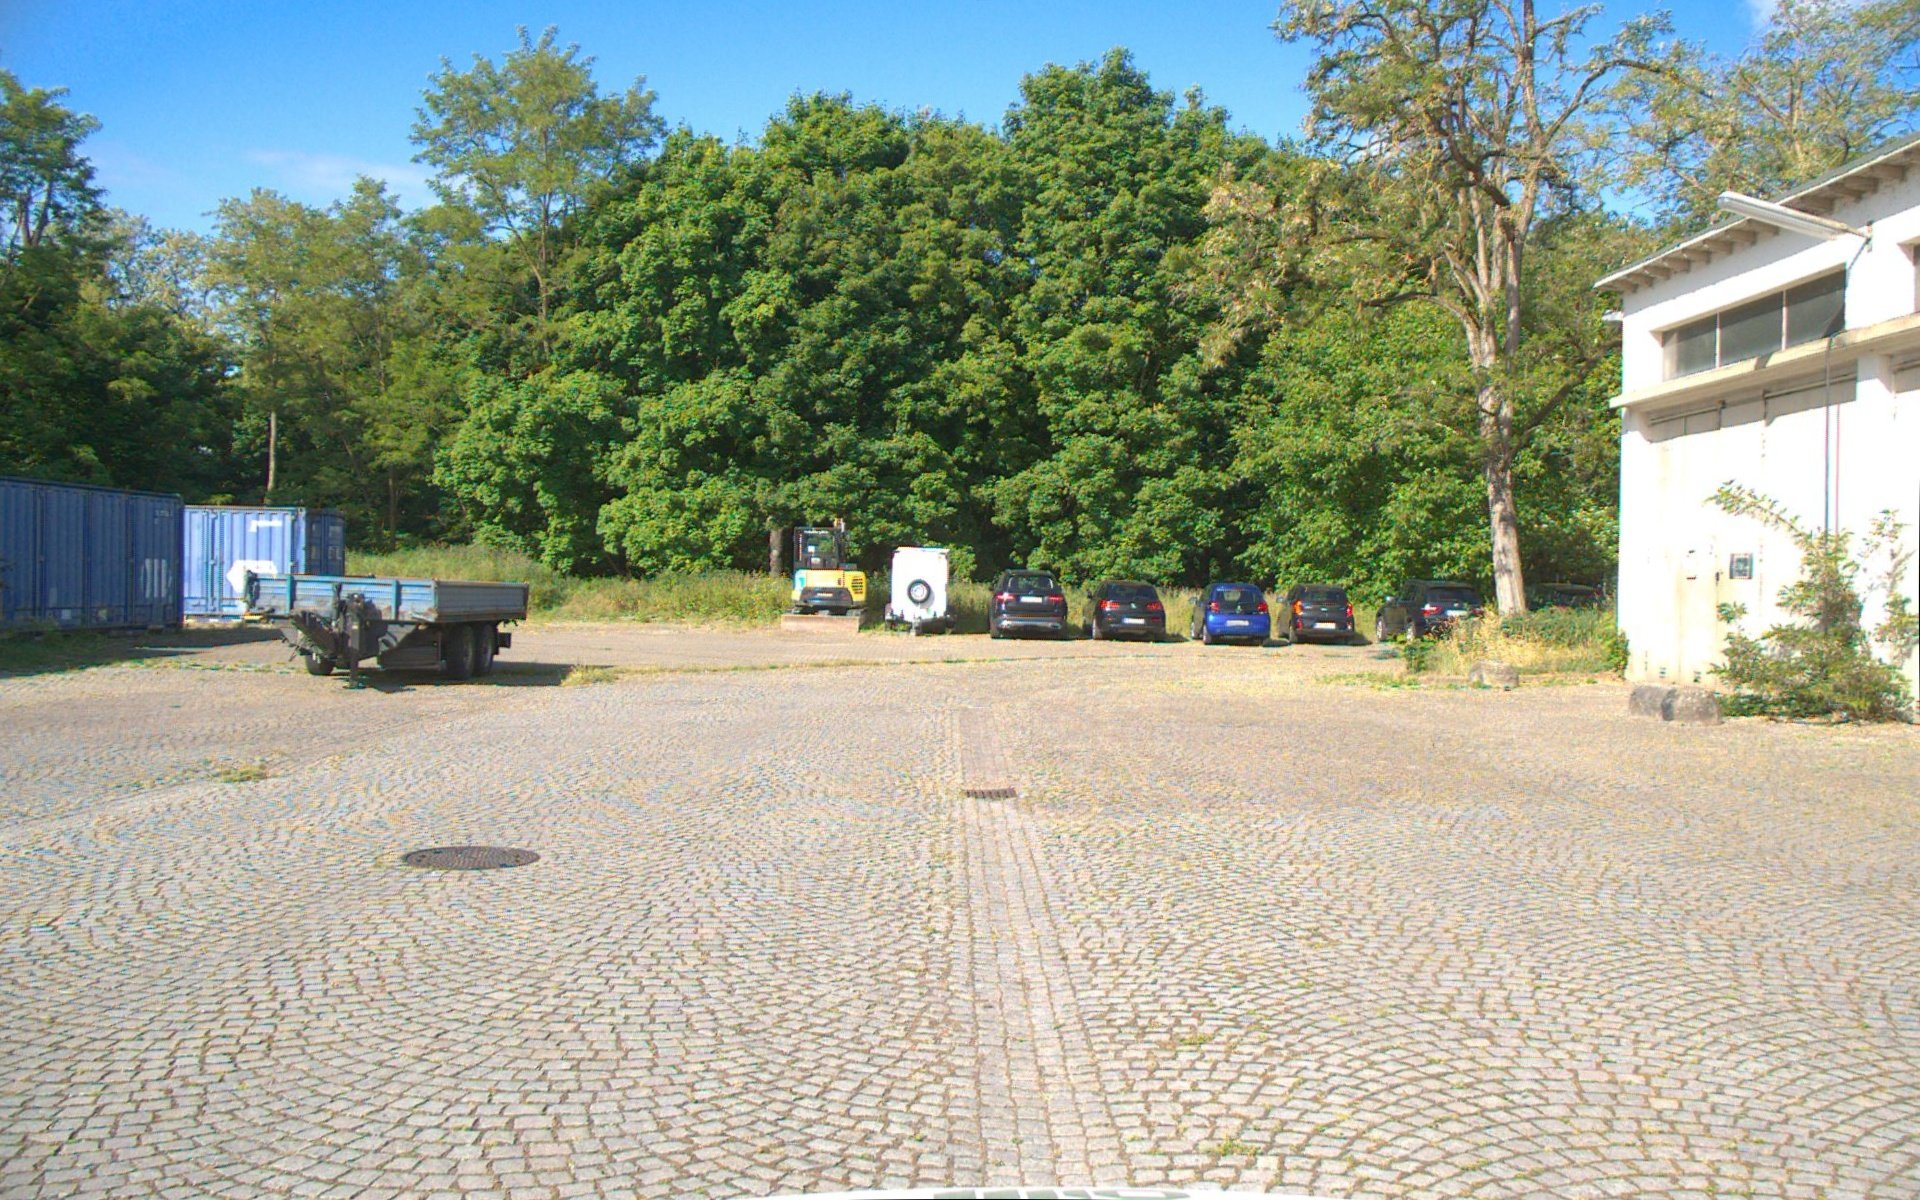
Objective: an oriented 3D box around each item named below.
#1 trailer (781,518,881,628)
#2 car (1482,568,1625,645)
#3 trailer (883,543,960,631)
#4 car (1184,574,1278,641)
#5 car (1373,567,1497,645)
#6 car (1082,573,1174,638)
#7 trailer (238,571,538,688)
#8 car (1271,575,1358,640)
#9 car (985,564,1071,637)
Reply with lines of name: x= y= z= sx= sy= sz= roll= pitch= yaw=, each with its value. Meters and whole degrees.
trailer: x=-3.252 y=-0.724 z=42.148 sx=2.212 sy=2.581 sz=2.852 roll=2 pitch=4 yaw=1
car: x=15.037 y=0.116 z=42.128 sx=1.788 sy=1.616 sz=4.271 roll=0 pitch=4 yaw=-5
trailer: x=-0.948 y=-0.360 z=41.890 sx=1.781 sy=2.086 sz=2.851 roll=2 pitch=2 yaw=1
car: x=6.699 y=0.147 z=41.201 sx=1.743 sy=1.483 sz=3.791 roll=2 pitch=2 yaw=1
car: x=11.916 y=0.108 z=41.786 sx=1.836 sy=1.659 sz=4.274 roll=2 pitch=3 yaw=-1
car: x=4.123 y=0.096 z=41.106 sx=1.850 sy=1.436 sz=3.790 roll=2 pitch=2 yaw=0
trailer: x=-7.981 y=0.369 z=23.702 sx=2.586 sy=1.439 sz=4.861 roll=1 pitch=0 yaw=0
car: x=9.018 y=0.159 z=42.327 sx=1.702 sy=1.476 sz=3.728 roll=2 pitch=2 yaw=5
car: x=1.632 y=-0.023 z=40.952 sx=1.924 sy=1.617 sz=4.131 roll=2 pitch=2 yaw=0
